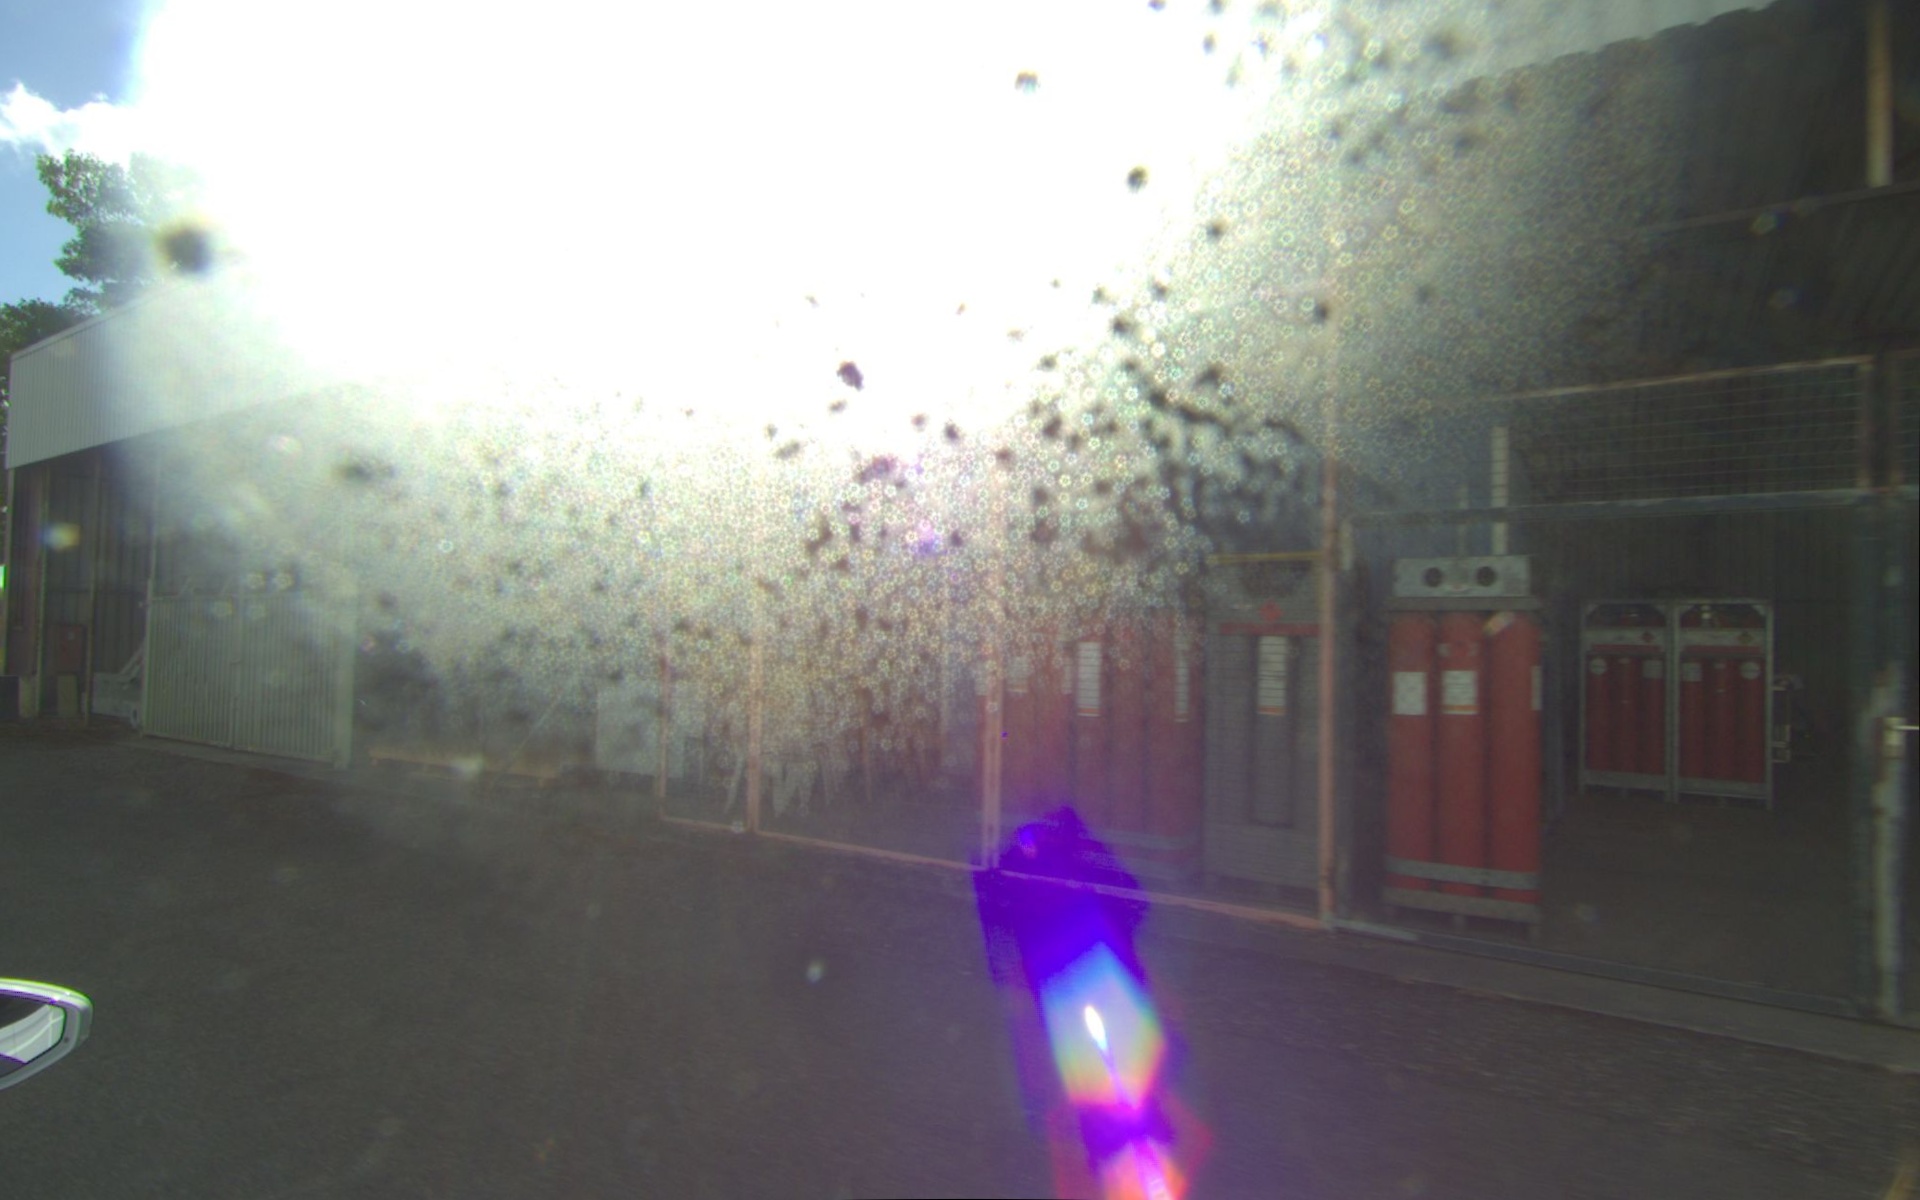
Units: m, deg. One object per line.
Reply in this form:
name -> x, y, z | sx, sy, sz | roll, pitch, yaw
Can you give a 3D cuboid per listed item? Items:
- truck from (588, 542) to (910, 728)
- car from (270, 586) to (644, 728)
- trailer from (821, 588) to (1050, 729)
truck -> -3.463, 0.651, 17.740 | 2.332, 2.740, 5.558 | 0, -2, 33
car -> -7.988, 0.940, 16.573 | 2.243, 1.942, 5.166 | 0, -3, 28
trailer -> -0.345, 0.981, 17.455 | 2.431, 2.165, 3.396 | 0, -2, 35
